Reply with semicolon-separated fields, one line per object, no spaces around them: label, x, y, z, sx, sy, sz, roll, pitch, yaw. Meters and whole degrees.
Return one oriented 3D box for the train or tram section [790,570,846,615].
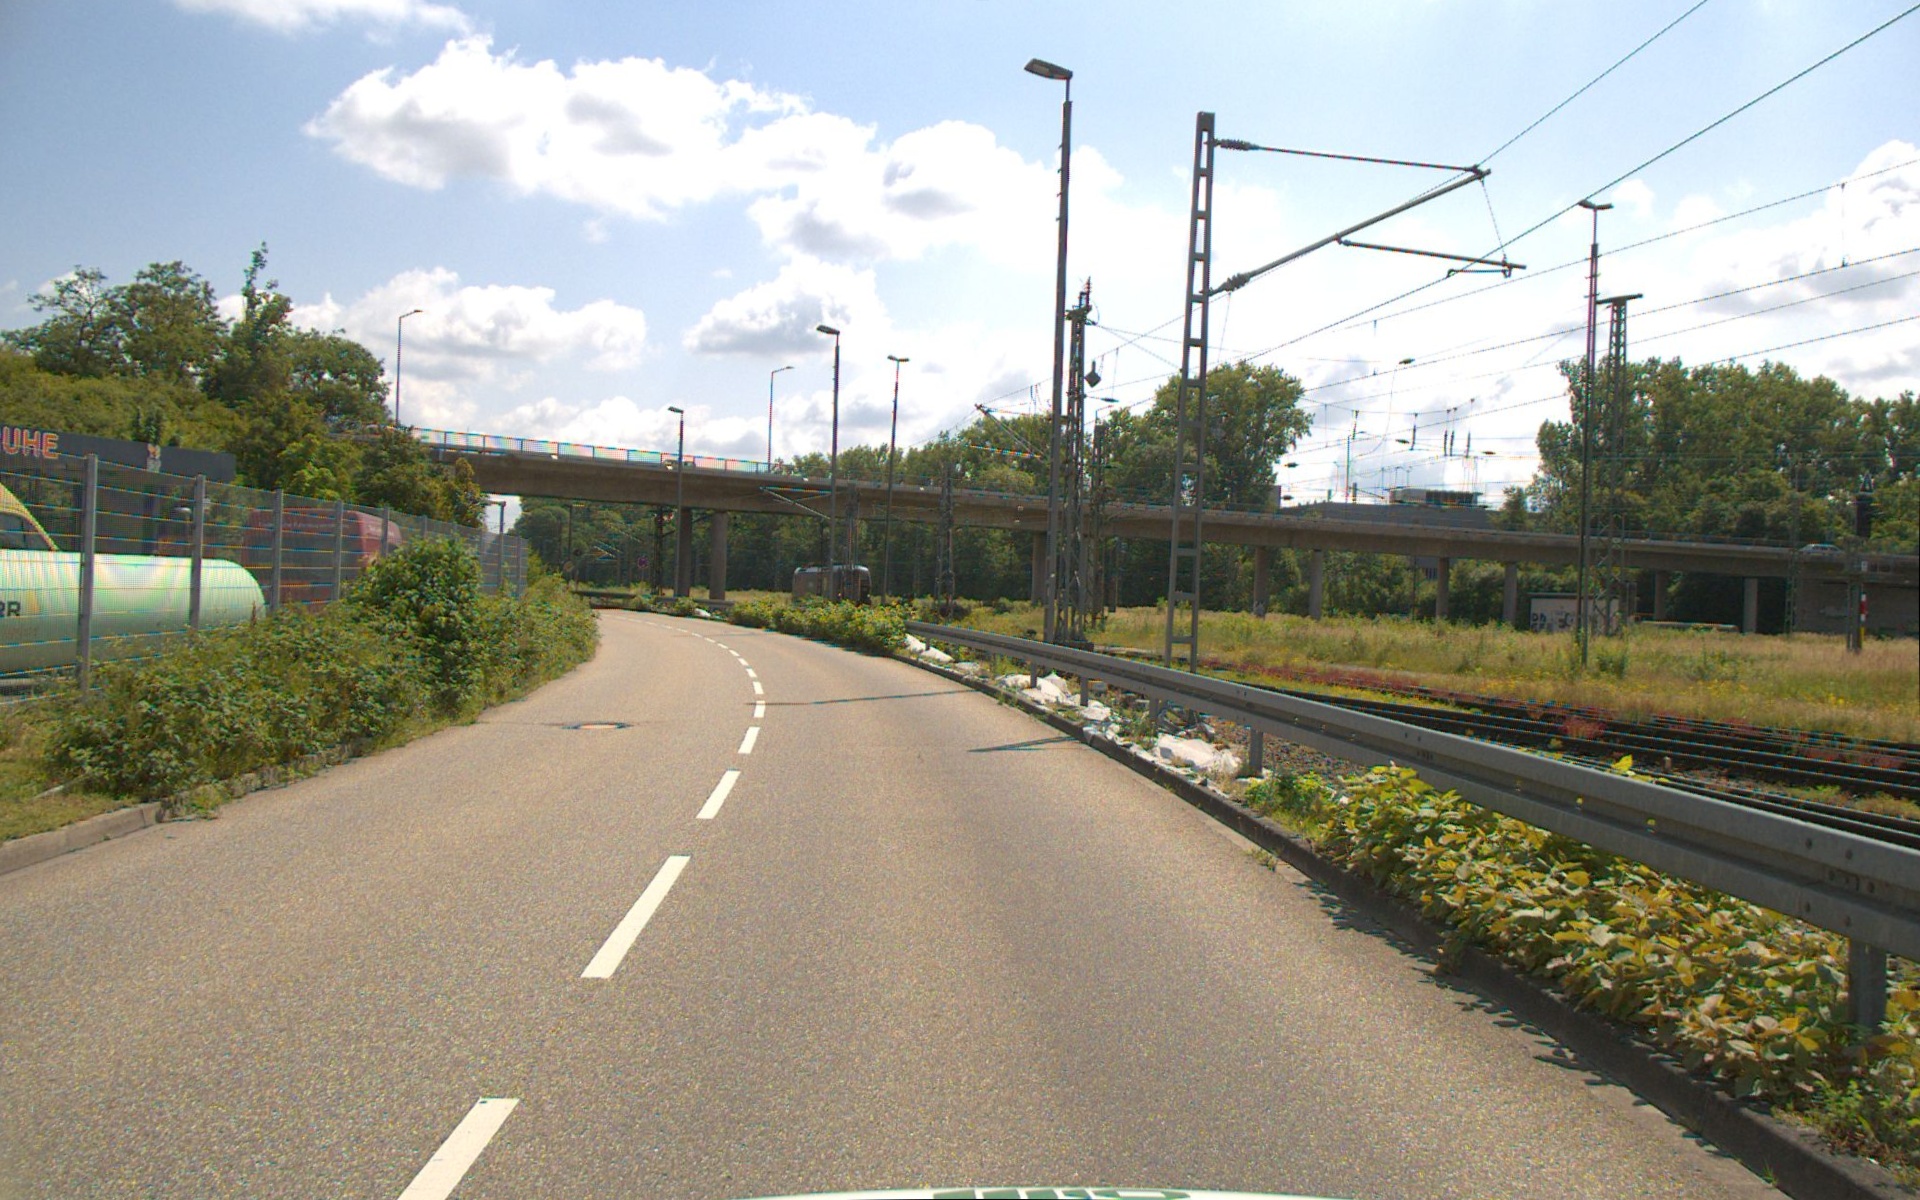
train or tram section;-11.798;-0.575;136.773;2.713;3.538;8.197;2;-1;-18

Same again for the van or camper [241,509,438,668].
van or camper;-10.896;-0.219;29.532;2.148;2.558;5.690;0;1;-9

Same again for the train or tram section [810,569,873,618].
train or tram section;-9.273;-0.475;128.798;2.846;3.570;8.521;2;-1;-18

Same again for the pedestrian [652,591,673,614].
pedestrian;-20.700;0.162;115.079;1.094;1.567;1.569;2;-1;-21

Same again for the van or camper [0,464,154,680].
van or camper;-12.166;-0.355;18.762;2.194;2.468;5.663;1;-1;15
